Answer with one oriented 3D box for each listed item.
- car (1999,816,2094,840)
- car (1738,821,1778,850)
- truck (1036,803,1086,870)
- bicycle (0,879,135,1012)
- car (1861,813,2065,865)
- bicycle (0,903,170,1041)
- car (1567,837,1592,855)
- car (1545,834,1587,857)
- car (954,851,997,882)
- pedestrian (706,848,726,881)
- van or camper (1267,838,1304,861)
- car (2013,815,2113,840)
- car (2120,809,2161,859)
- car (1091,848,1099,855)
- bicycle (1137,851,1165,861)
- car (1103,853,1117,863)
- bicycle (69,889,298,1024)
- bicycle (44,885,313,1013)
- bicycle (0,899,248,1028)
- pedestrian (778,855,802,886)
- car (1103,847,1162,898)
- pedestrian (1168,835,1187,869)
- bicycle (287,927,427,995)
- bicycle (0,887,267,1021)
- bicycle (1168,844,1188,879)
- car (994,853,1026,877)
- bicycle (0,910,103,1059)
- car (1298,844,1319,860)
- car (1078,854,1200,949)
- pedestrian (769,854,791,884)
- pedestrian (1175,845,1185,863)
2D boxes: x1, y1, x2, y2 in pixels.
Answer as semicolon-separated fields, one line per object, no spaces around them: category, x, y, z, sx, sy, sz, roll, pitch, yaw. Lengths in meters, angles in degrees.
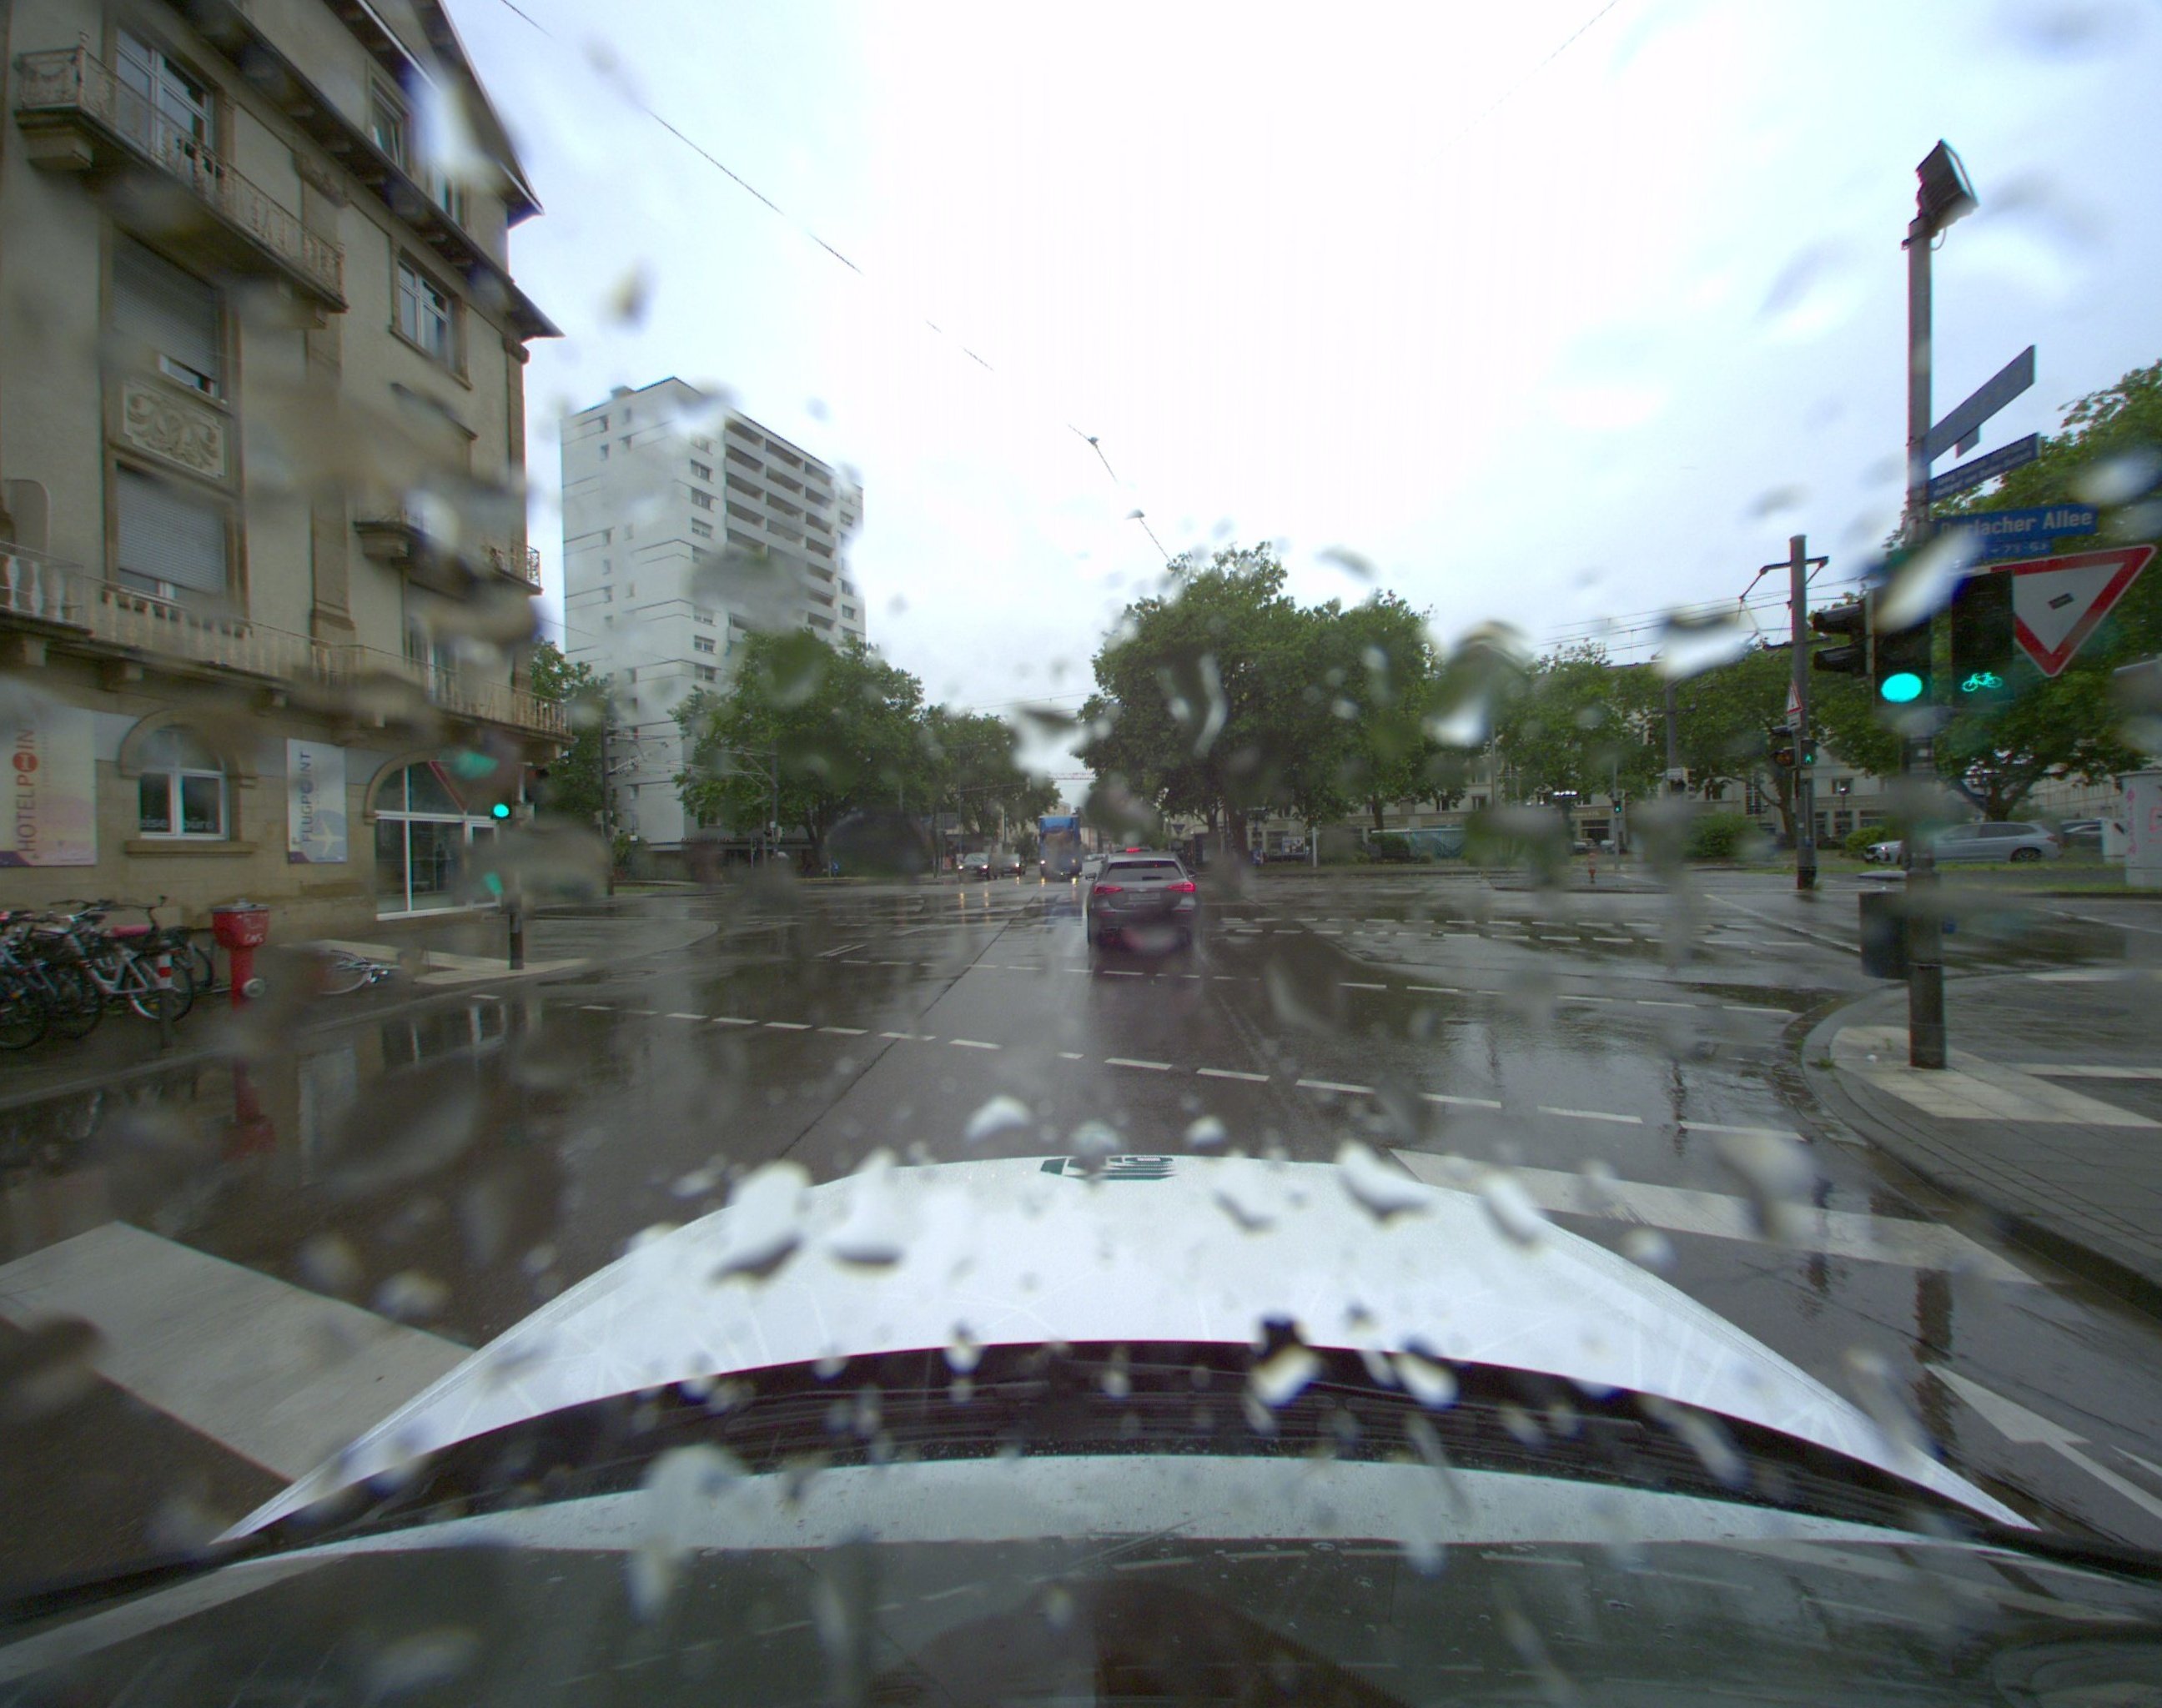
car;67.923;-1.783;57.382;3.950;1.452;1.687;-2;-1;26
car;56.519;-1.489;68.096;1.535;2.203;4.122;-2;-2;26
truck;-1.222;-1.098;55.764;2.836;4.025;10.316;-2;0;1
bicycle;-11.658;0.992;8.775;2.053;1.346;0.584;-2;0;-4
car;30.792;-0.505;28.628;4.499;1.599;1.802;-2;0;24
bicycle;-9.699;1.079;7.583;1.805;1.184;0.468;2;0;-2
car;45.394;-0.715;74.244;1.535;1.467;3.386;-2;-2;26
car;34.179;-0.612;57.472;1.650;1.521;3.694;-2;0;16
car;-5.697;0.645;44.351;1.737;1.546;3.779;-3;0;0
pedestrian;-20.701;0.580;46.190;0.671;1.838;0.643;-3;0;24
van or camper;21.261;-0.495;84.451;2.373;2.231;5.463;-2;0;29
car;66.576;-1.799;55.294;3.950;1.452;1.687;-2;-1;26
car;36.821;-0.706;26.001;4.127;1.599;1.789;-2;0;24
car;3.514;-0.621;203.480;1.881;1.836;4.005;-2;0;5
bicycle;8.703;0.222;101.037;3.214;1.112;1.048;-2;-4;-18
car;4.498;0.606;127.921;1.987;1.574;3.999;-2;0;0
bicycle;-9.535;1.077;8.675;1.968;1.330;0.438;-2;0;2
bicycle;-10.866;1.120;9.866;2.336;1.346;0.639;-3;0;-4
bicycle;-9.626;1.079;8.146;1.975;1.184;0.474;2;0;-3
pedestrian;-15.899;0.915;44.504;0.828;1.648;0.759;-3;0;16
car;1.511;0.527;25.088;1.601;1.372;4.001;-3;0;1
pedestrian;4.097;-0.096;34.469;0.740;1.398;1.049;-3;0;8
bicycle;-9.223;1.334;10.466;1.046;0.663;1.464;1;-1;-30
bicycle;-10.795;1.104;9.214;2.336;1.346;0.639;-2;0;-4
bicycle;4.112;0.284;34.422;0.745;1.377;2.713;-3;0;8
car;-4.830;0.729;55.976;1.720;1.546;4.340;-3;0;0
bicycle;-9.696;1.092;7.042;1.805;1.184;0.475;2;0;-1
car;23.292;-0.224;83.254;1.665;1.575;3.755;-2;-1;21
car;0.884;0.697;13.713;1.785;1.372;3.507;-1;0;1
pedestrian;-17.124;0.829;46.326;0.785;1.648;0.820;-3;0;16
pedestrian;9.314;0.040;76.596;0.717;1.669;0.662;-2;-1;-12
